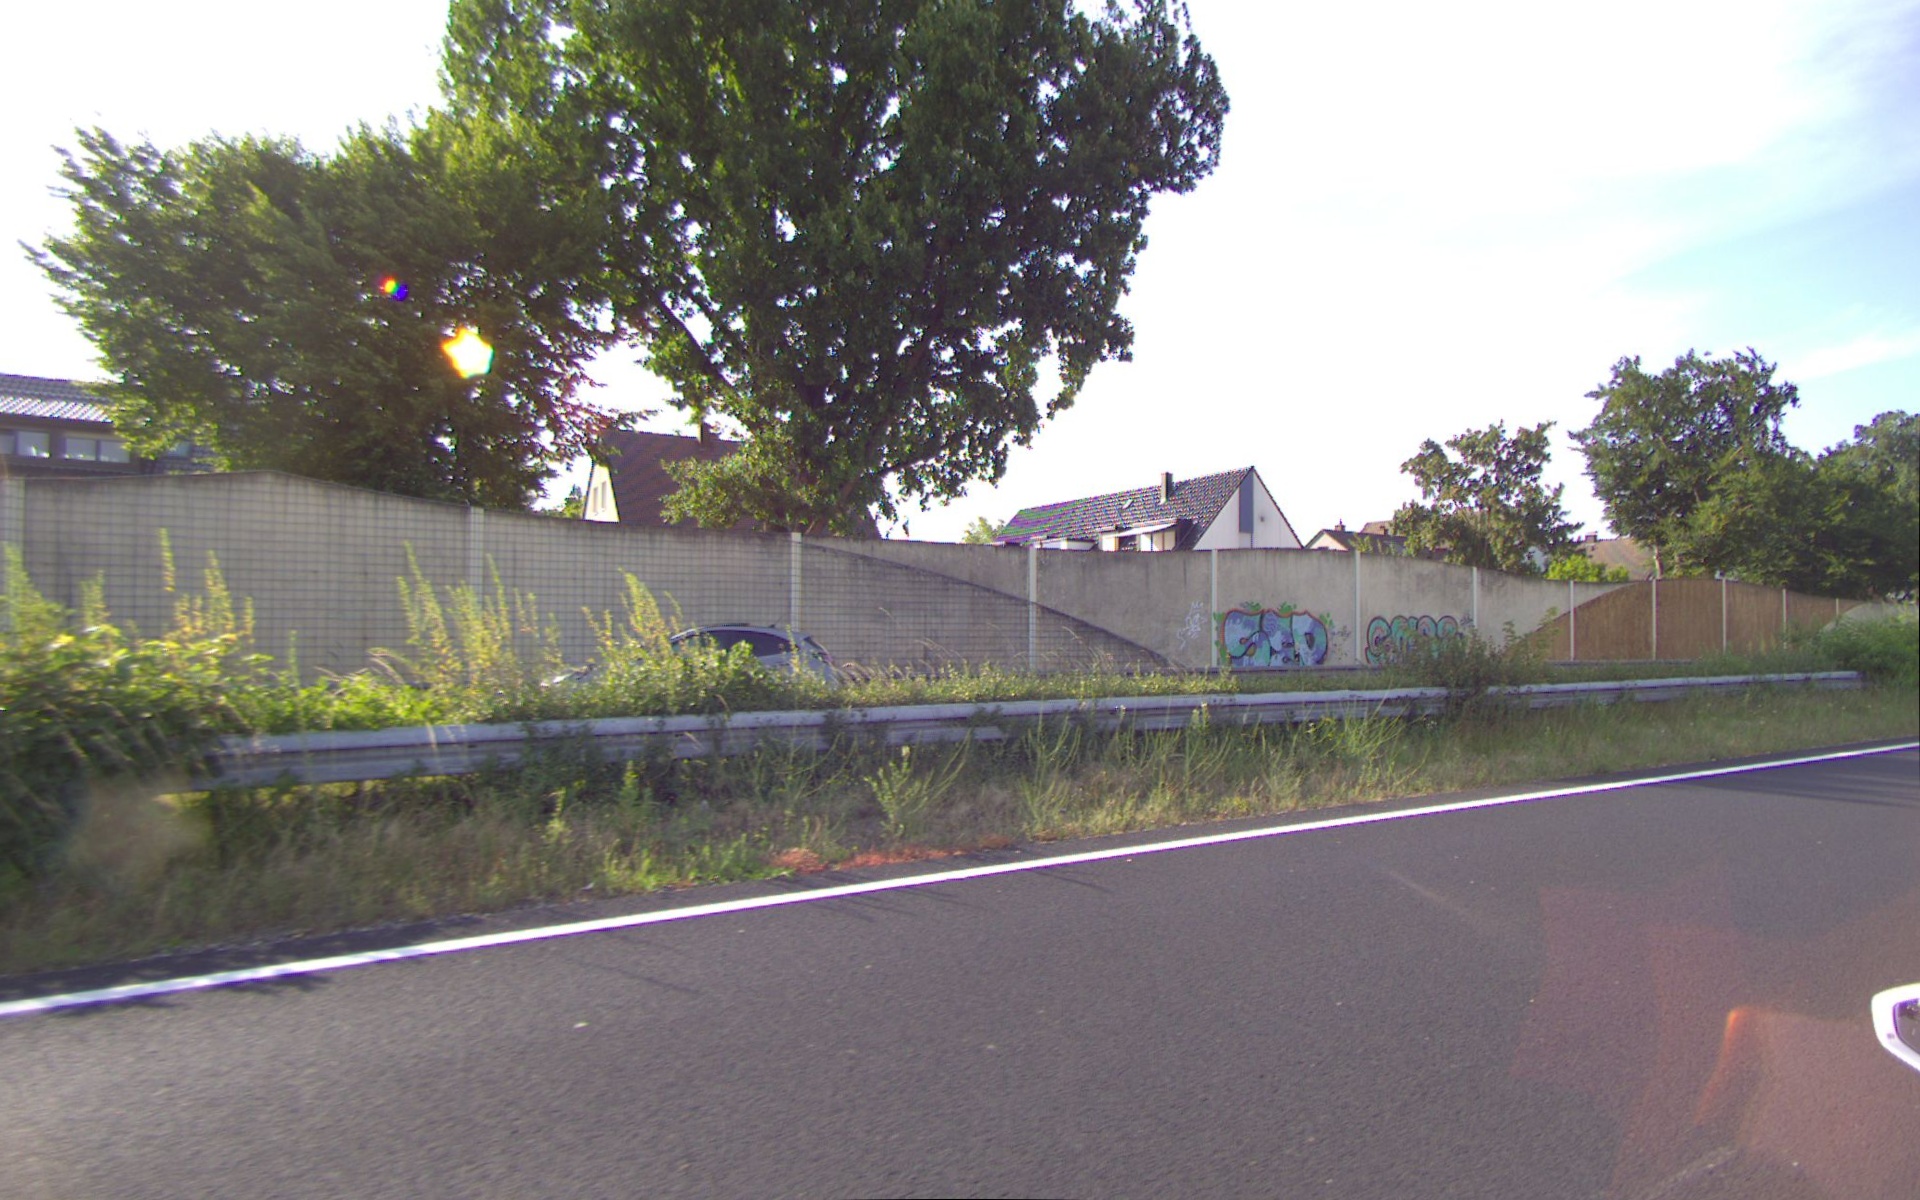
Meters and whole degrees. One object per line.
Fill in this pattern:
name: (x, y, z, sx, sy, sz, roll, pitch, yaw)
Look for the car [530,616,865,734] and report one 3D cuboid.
car: (-3.618, 0.984, 14.090, 4.240, 1.379, 1.640, 2, 1, -31)
